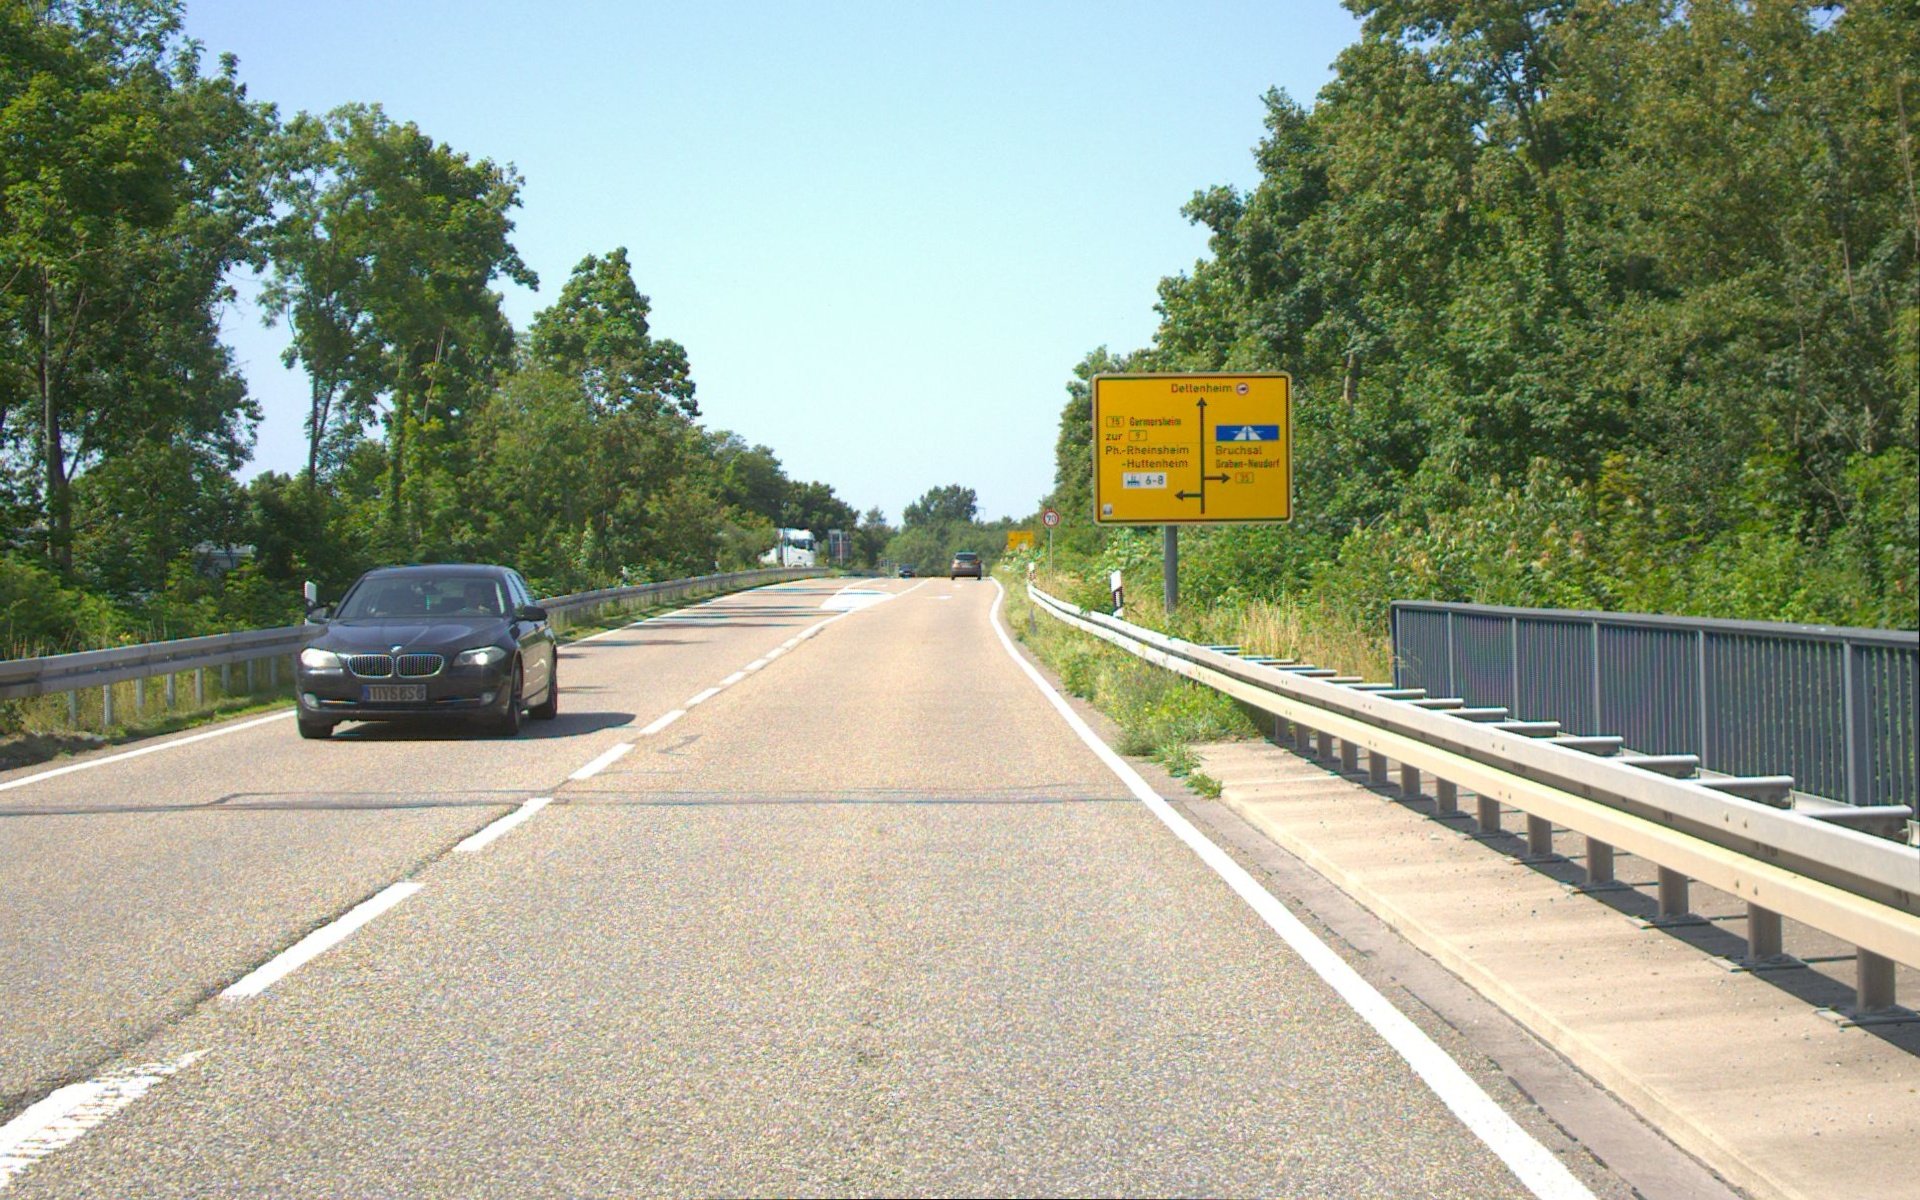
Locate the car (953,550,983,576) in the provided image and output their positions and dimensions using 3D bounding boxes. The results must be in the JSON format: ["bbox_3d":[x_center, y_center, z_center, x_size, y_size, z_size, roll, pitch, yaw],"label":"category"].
[{"bbox_3d":[0.468,-2.152,199.862,1.741,1.465,3.692,0,1,0],"label":"car"}]

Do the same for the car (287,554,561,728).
[{"bbox_3d":[-4.680,0.318,30.616,1.746,1.420,4.677,0,0,0],"label":"car"}]
